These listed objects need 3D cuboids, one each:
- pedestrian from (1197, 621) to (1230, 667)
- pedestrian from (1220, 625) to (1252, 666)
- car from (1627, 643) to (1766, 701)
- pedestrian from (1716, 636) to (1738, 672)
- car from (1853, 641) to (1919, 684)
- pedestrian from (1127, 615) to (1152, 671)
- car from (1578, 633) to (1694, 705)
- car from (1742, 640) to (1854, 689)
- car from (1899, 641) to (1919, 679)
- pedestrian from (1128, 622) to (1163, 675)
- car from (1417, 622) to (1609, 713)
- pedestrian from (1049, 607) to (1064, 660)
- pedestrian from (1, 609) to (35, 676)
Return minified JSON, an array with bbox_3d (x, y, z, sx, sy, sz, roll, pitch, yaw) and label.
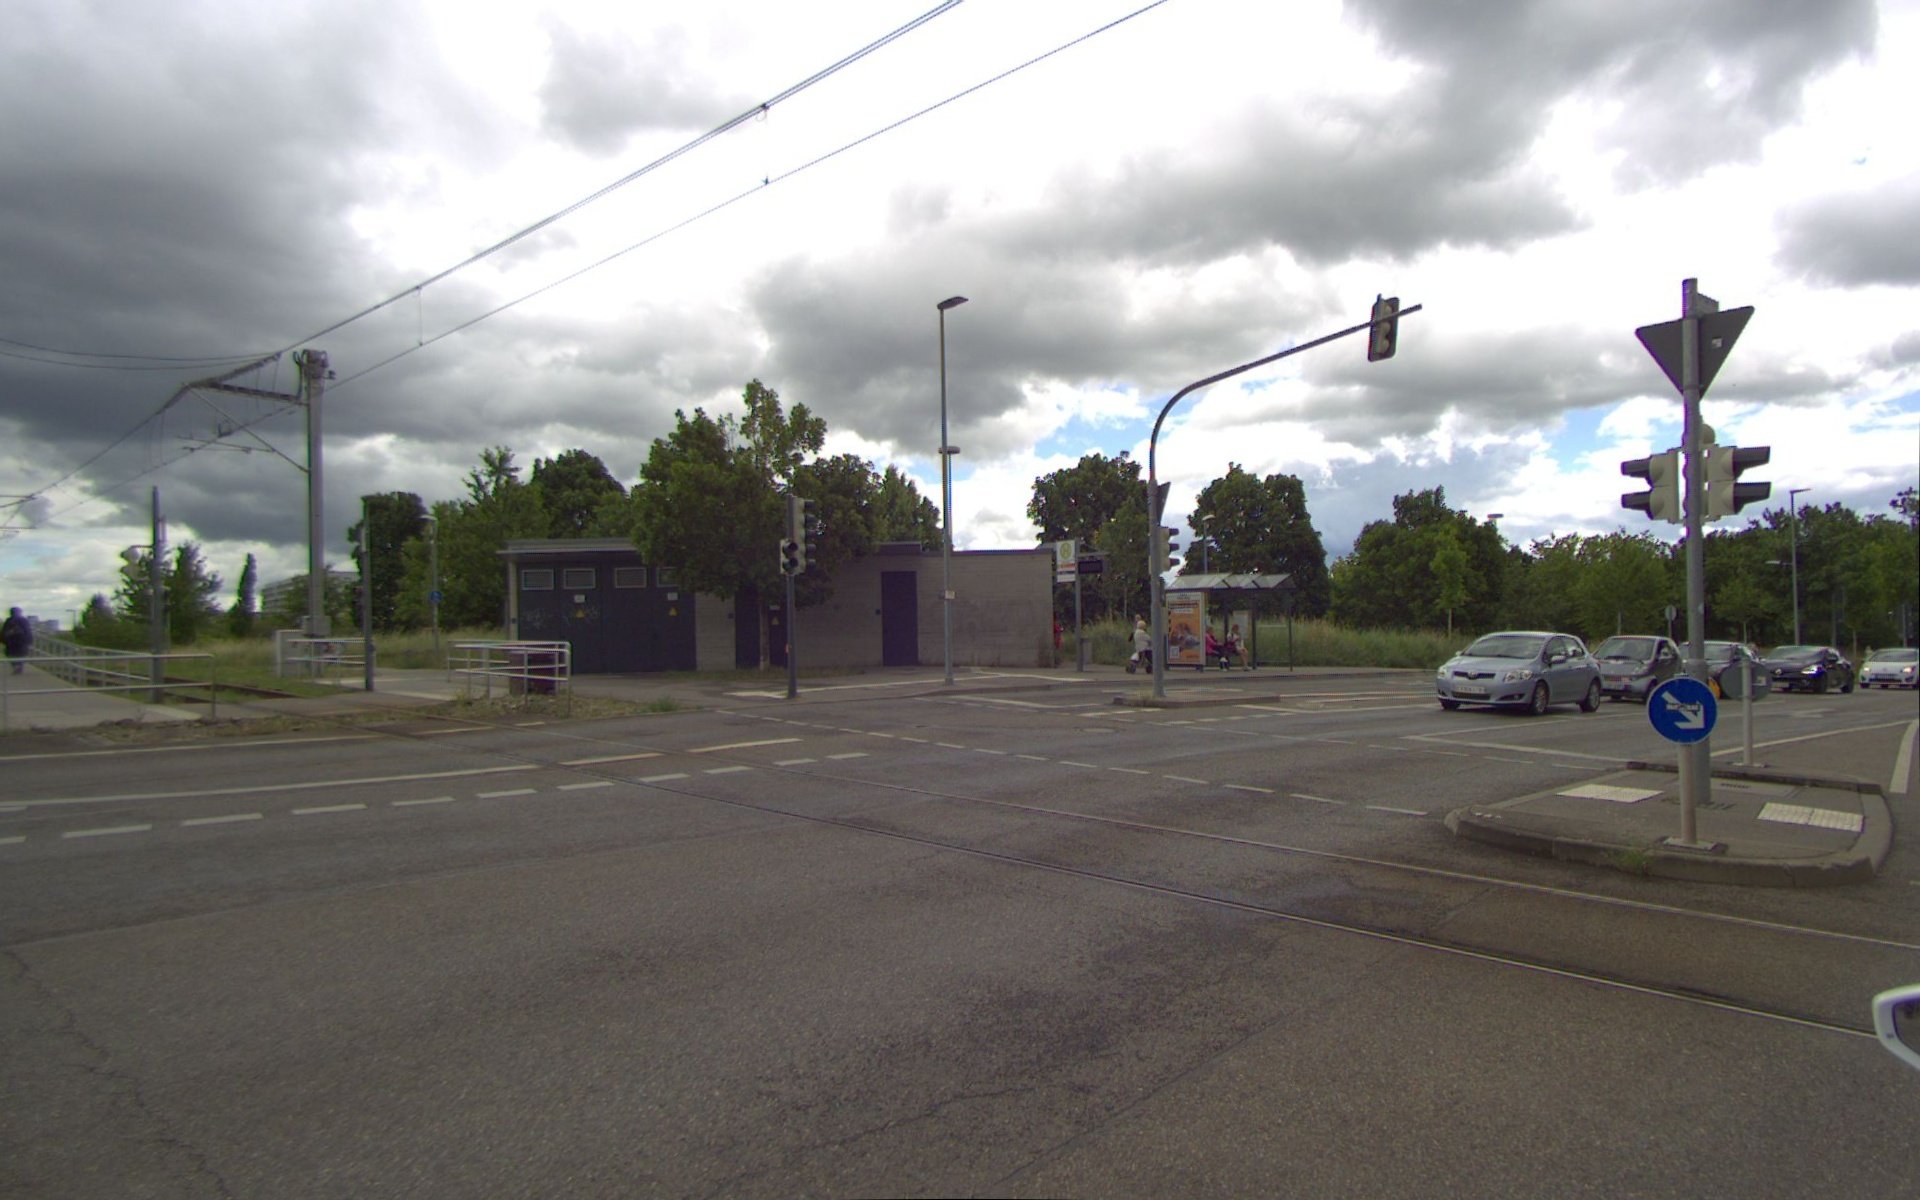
[{"bbox_3d":[7.550,1.301,29.934,0.547,1.348,0.764,0,-1,-43],"label":"pedestrian"},{"bbox_3d":[8.422,1.383,30.678,0.547,1.243,0.764,0,-1,-43],"label":"pedestrian"},{"bbox_3d":[19.682,1.866,26.788,4.338,1.349,1.787,1,-2,-37],"label":"car"},{"bbox_3d":[39.645,2.789,51.930,0.670,1.859,0.717,1,-2,-34],"label":"pedestrian"},{"bbox_3d":[34.105,2.232,36.531,3.725,1.409,1.629,1,-2,-35],"label":"car"},{"bbox_3d":[5.542,1.316,31.019,0.626,1.692,0.550,0,-1,-7],"label":"pedestrian"},{"bbox_3d":[15.768,1.566,23.420,2.749,1.547,1.418,1,-2,-37],"label":"car"},{"bbox_3d":[25.493,1.912,30.521,4.020,1.349,1.629,1,-2,-35],"label":"car"},{"bbox_3d":[38.987,2.358,39.830,4.836,1.409,1.629,1,-2,-35],"label":"car"},{"bbox_3d":[4.953,1.278,26.821,0.768,1.381,0.544,0,-1,-43],"label":"pedestrian"},{"bbox_3d":[10.751,1.227,19.423,4.183,1.556,1.813,1,-2,-39],"label":"car"},{"bbox_3d":[3.127,1.089,32.582,0.421,1.692,0.551,0,-1,2],"label":"pedestrian"},{"bbox_3d":[-23.210,1.033,24.751,0.537,1.593,0.561,2,1,42],"label":"pedestrian"}]
